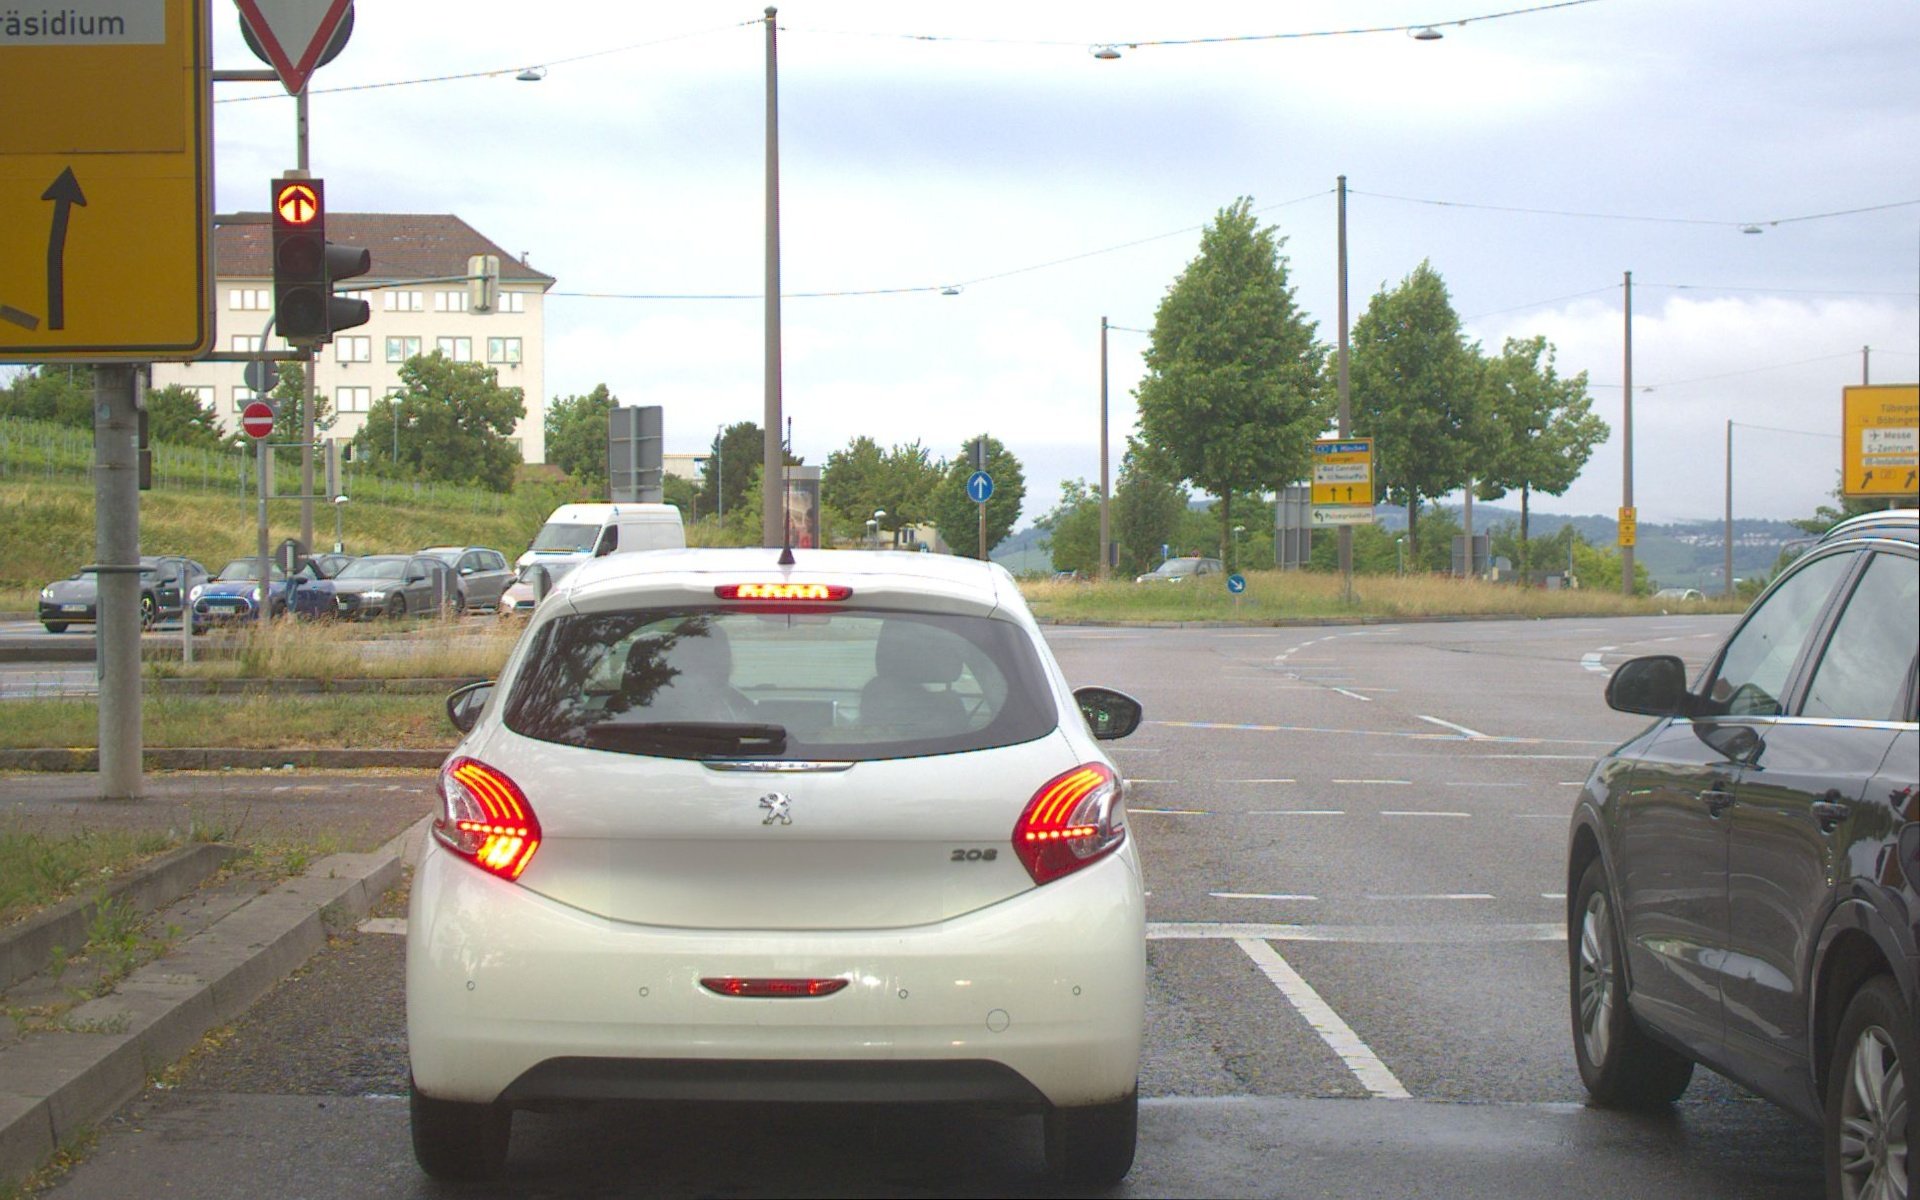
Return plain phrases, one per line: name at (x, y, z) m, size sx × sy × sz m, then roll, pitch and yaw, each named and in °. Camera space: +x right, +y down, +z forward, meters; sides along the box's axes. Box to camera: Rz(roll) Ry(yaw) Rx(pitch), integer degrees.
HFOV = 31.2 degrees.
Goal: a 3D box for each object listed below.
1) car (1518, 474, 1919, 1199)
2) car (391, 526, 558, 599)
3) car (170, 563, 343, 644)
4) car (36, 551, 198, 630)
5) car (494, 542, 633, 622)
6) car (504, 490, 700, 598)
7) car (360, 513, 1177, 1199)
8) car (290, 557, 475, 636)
car at (2.598, 0.586, 7.773) m, size 1.884 × 1.590 × 4.114 m, roll 2°, pitch 0°, yaw -1°
car at (-11.216, -0.852, 79.694) m, size 1.996 × 1.570 × 4.190 m, roll 2°, pitch 0°, yaw 22°
car at (-12.734, 0.077, 62.458) m, size 1.787 × 1.391 × 3.880 m, roll 1°, pitch 0°, yaw 9°
car at (-15.842, -0.164, 64.770) m, size 1.787 × 1.391 × 3.881 m, roll 1°, pitch 0°, yaw 5°
car at (-7.339, -0.340, 64.015) m, size 1.776 × 1.420 × 4.373 m, roll 0°, pitch 0°, yaw 4°
car at (-8.981, -1.373, 86.911) m, size 1.996 × 2.550 × 6.161 m, roll 2°, pitch 0°, yaw 25°
car at (-0.452, 0.549, 9.312) m, size 1.717 × 1.484 × 4.000 m, roll 1°, pitch 1°, yaw -1°
car at (-11.465, -0.075, 68.587) m, size 1.902 × 1.484 × 4.889 m, roll 2°, pitch 0°, yaw 13°
